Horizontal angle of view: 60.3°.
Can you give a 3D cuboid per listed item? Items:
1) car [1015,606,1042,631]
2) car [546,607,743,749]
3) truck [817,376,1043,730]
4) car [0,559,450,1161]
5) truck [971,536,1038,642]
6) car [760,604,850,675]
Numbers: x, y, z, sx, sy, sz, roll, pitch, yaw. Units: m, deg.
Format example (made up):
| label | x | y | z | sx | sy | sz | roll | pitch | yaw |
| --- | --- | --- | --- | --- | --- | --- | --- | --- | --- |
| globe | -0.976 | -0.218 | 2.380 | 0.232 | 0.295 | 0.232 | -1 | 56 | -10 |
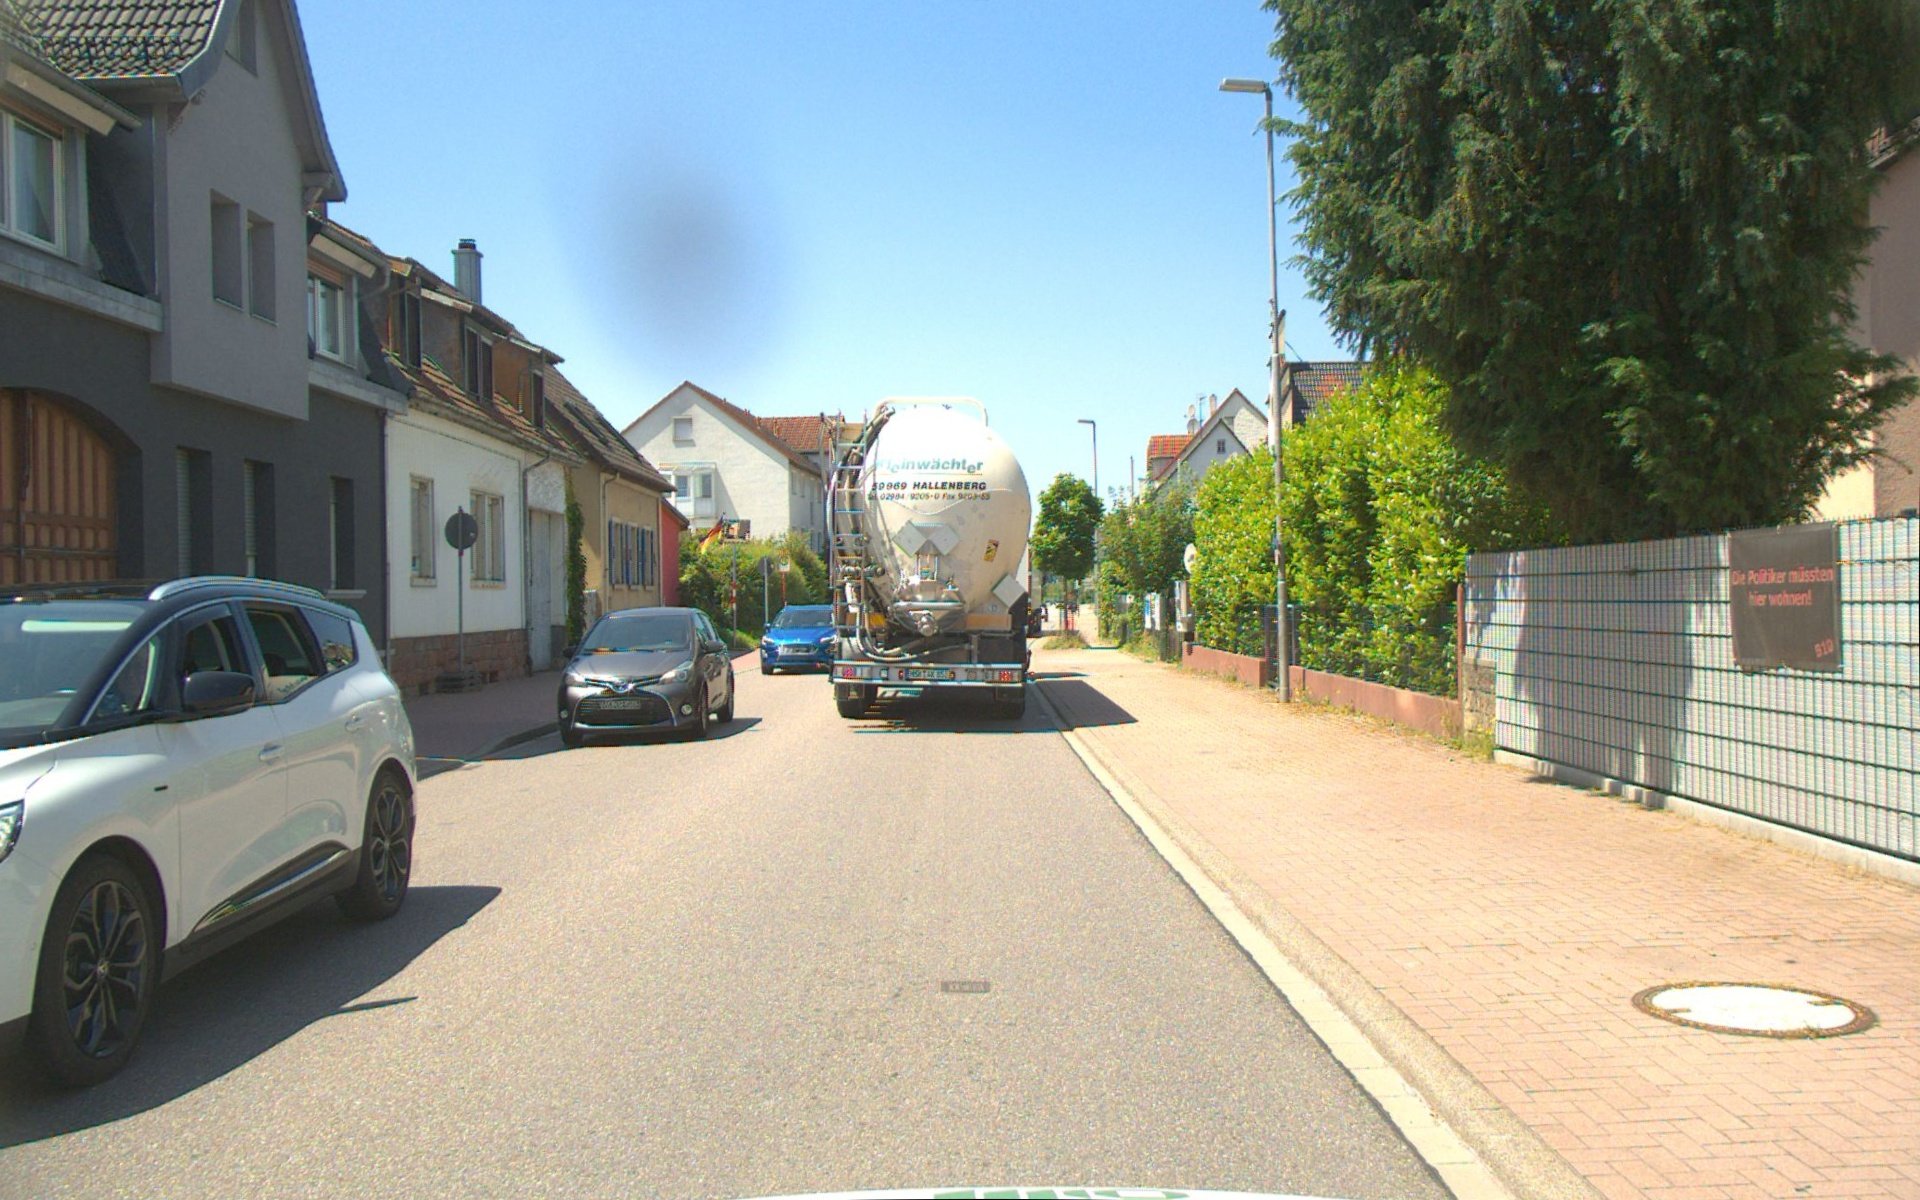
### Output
| label | x | y | z | sx | sy | sz | roll | pitch | yaw |
| --- | --- | --- | --- | --- | --- | --- | --- | --- | --- |
| car | 4.902 | 1.306 | 118.092 | 1.834 | 1.583 | 4.631 | -2 | 2 | 3 |
| car | -3.744 | 0.874 | 20.233 | 1.642 | 1.484 | 3.928 | -3 | 0 | -1 |
| truck | -0.398 | -0.553 | 23.926 | 2.587 | 4.086 | 9.559 | 0 | 0 | -1 |
| car | -3.606 | 0.755 | 6.559 | 1.836 | 1.631 | 4.430 | -3 | 0 | -2 |
| truck | 2.076 | -0.446 | 73.117 | 2.585 | 4.299 | 12.098 | 0 | 0 | 3 |
| car | -3.454 | 0.842 | 37.448 | 1.612 | 1.479 | 4.400 | -1 | 0 | 0 |
